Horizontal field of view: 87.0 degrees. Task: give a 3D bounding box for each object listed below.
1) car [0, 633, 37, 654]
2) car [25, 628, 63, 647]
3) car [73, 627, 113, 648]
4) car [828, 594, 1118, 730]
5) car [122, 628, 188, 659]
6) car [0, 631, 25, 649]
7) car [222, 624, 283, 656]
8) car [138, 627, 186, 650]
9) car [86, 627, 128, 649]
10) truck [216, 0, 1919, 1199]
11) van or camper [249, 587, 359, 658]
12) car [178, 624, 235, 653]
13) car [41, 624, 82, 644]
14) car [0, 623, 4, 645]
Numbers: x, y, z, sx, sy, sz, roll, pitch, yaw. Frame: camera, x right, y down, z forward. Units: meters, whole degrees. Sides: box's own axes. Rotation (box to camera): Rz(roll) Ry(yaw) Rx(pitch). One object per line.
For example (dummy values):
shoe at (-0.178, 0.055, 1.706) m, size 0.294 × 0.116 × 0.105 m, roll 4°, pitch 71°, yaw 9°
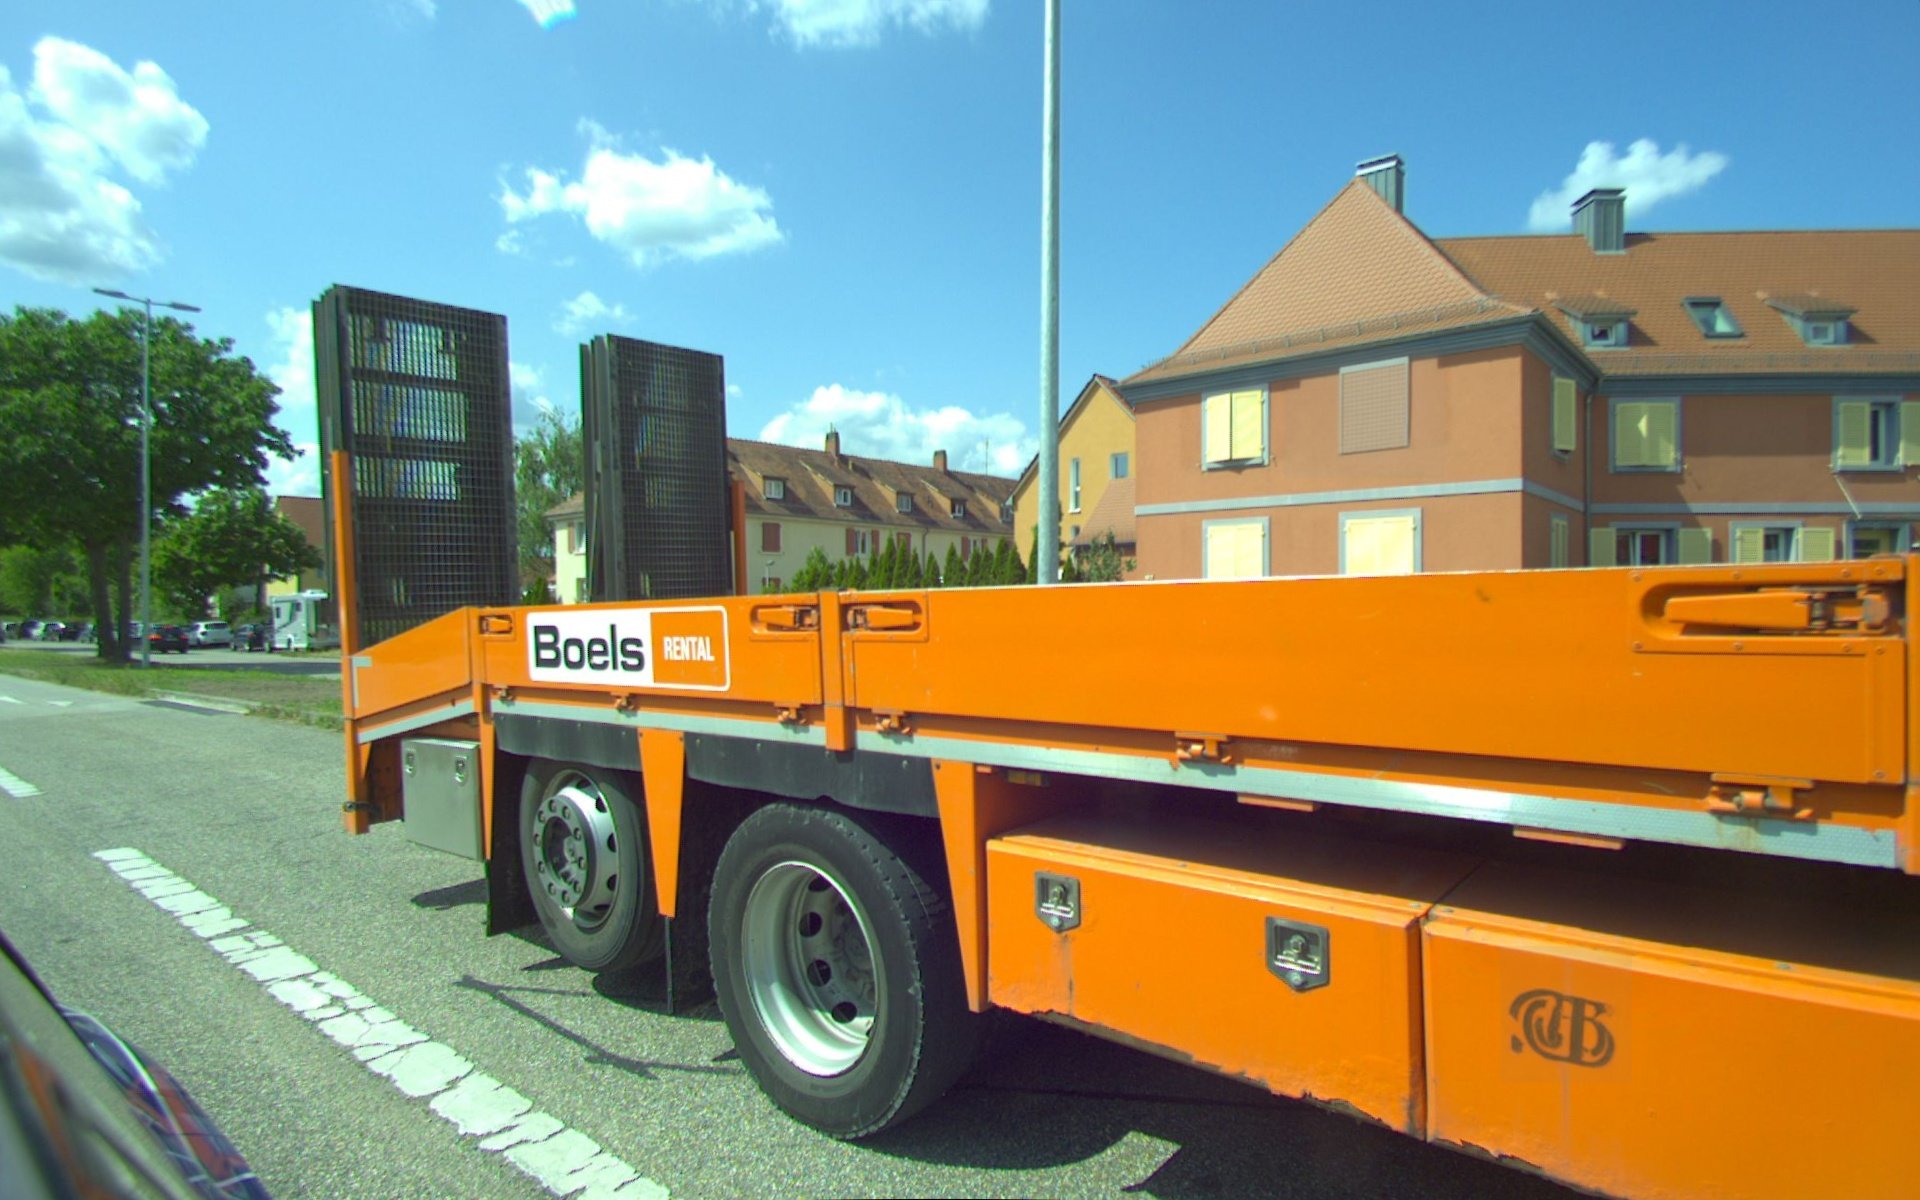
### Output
car at (-83.162, 3.832, 89.360) m, size 4.307 × 1.624 × 1.645 m, roll 0°, pitch 2°, yaw 37°
car at (-77.034, 3.115, 85.130) m, size 3.840 × 1.462 × 1.645 m, roll 0°, pitch 2°, yaw 37°
car at (-64.546, 2.756, 75.324) m, size 3.472 × 1.405 × 1.548 m, roll 0°, pitch 2°, yaw 38°
car at (0.100, 0.822, 14.632) m, size 3.997 × 1.702 × 1.776 m, roll -1°, pitch -1°, yaw 40°
car at (-40.627, 2.157, 51.055) m, size 4.572 × 1.449 × 1.753 m, roll -1°, pitch -1°, yaw 40°
car at (-87.850, 3.698, 93.399) m, size 3.529 × 1.472 × 1.579 m, roll 0°, pitch 2°, yaw 37°
car at (-37.346, 2.074, 53.390) m, size 3.989 × 1.496 × 1.620 m, roll 0°, pitch 2°, yaw 40°
car at (-52.388, 2.499, 66.429) m, size 4.527 × 1.380 × 1.496 m, roll -1°, pitch 1°, yaw 40°
car at (-61.165, 2.707, 72.575) m, size 4.350 × 1.405 × 1.389 m, roll -1°, pitch 1°, yaw 38°
truck at (1.564, -0.353, 2.691) m, size 11.058 × 3.439 × 3.040 m, roll 0°, pitch 2°, yaw 40°
van or camper at (-31.917, 1.098, 49.101) m, size 7.312 × 3.135 × 2.237 m, roll -2°, pitch 1°, yaw 39°
car at (-43.880, 2.236, 58.914) m, size 4.120 × 1.496 × 1.672 m, roll 0°, pitch 2°, yaw 40°
car at (-71.593, 2.709, 80.601) m, size 4.096 × 1.492 × 1.645 m, roll -2°, pitch 1°, yaw 37°
car at (-69.382, 2.368, 71.641) m, size 4.646 × 1.519 × 1.716 m, roll 0°, pitch -3°, yaw 38°
